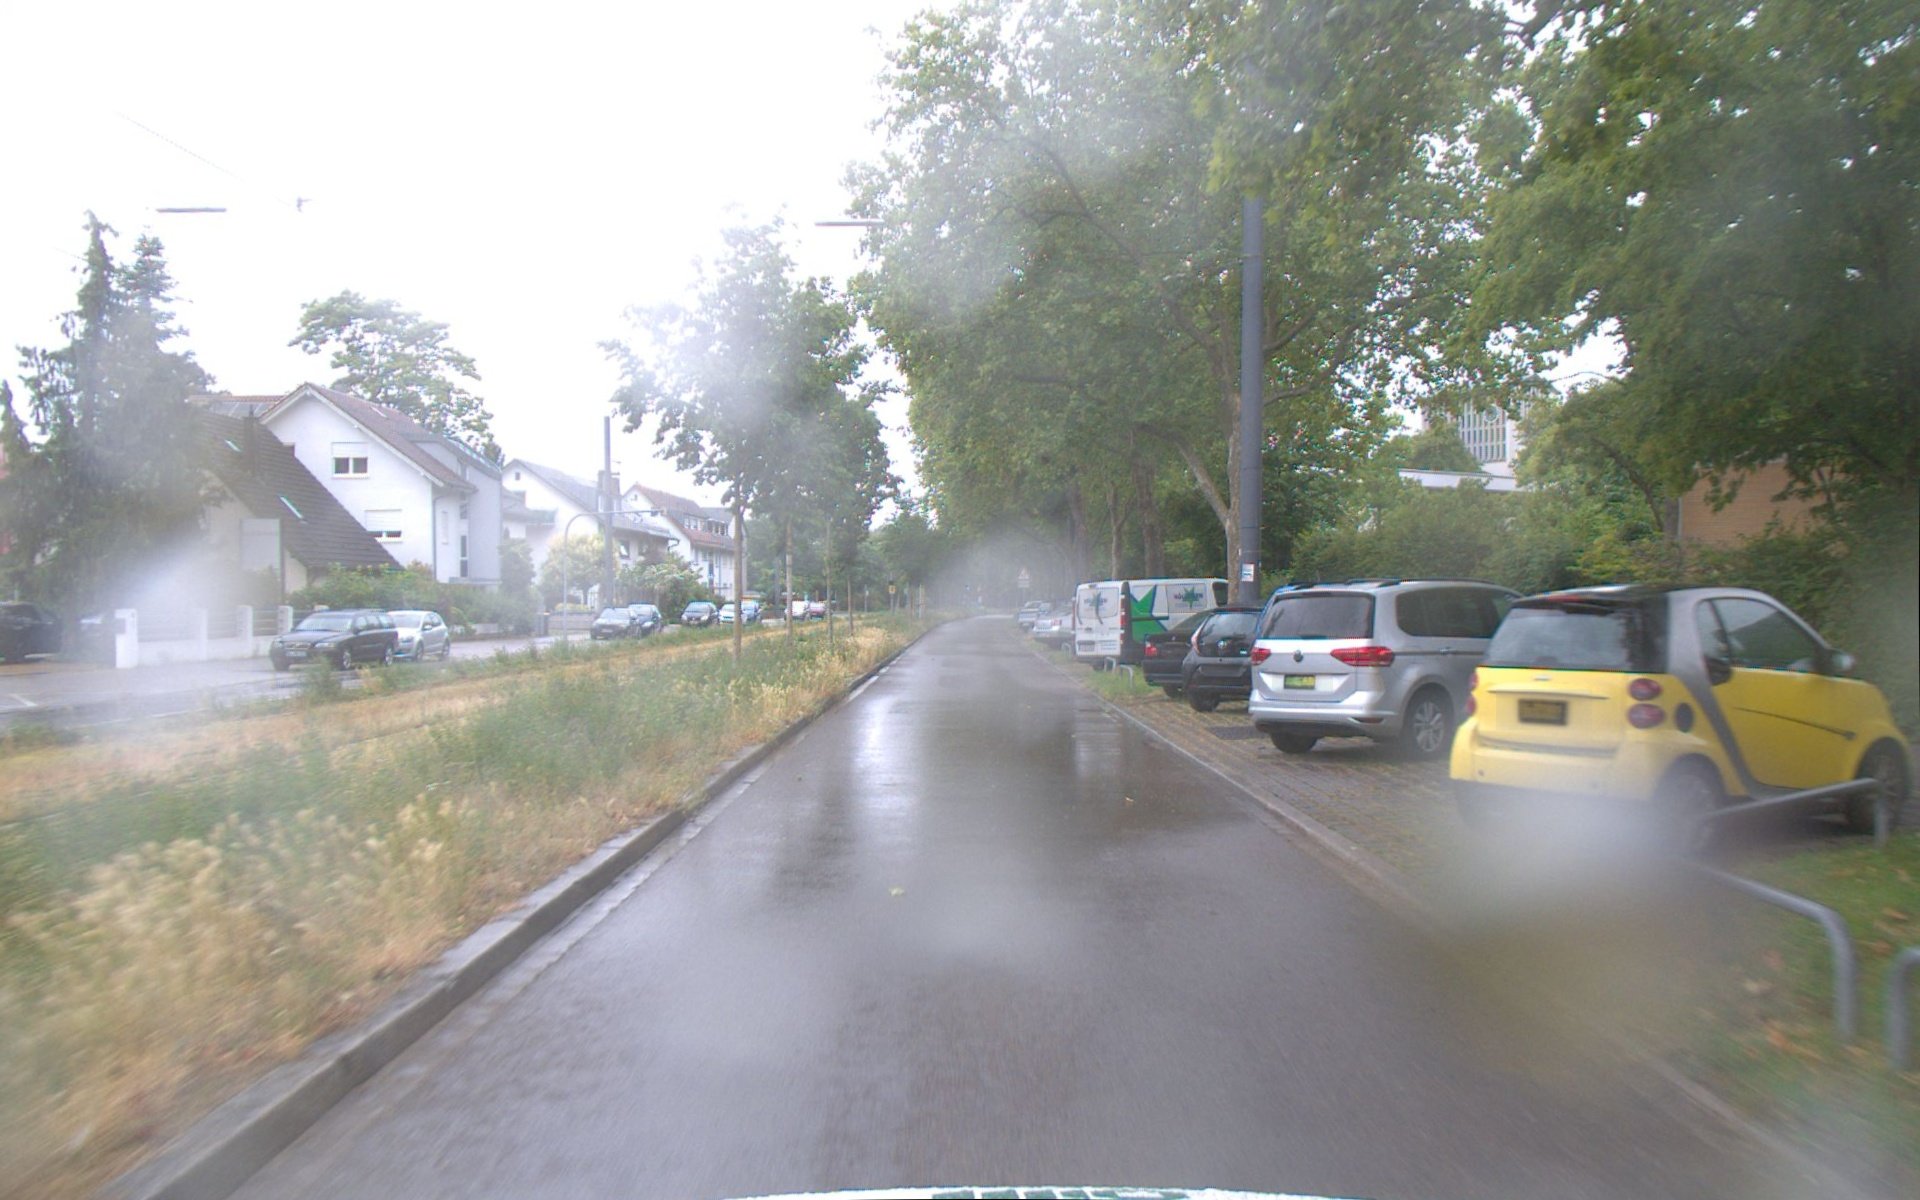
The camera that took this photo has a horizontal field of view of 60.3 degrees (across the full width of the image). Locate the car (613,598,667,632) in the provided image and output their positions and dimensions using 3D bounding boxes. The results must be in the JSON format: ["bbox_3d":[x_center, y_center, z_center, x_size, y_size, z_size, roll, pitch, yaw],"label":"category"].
[{"bbox_3d":[-15.690,0.731,81.227,1.835,1.577,3.870,1,0,0],"label":"car"}]

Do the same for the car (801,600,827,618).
[{"bbox_3d":[-13.628,0.834,154.593,1.952,1.514,4.206,1,0,2],"label":"car"}]

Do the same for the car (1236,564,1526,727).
[{"bbox_3d":[5.039,0.500,19.702,3.237,1.700,1.574,-3,0,-34],"label":"car"}]

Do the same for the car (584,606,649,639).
[{"bbox_3d":[-15.807,1.012,76.258,1.952,1.374,4.241,1,0,2],"label":"car"}]

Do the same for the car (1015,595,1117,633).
[{"bbox_3d":[5.139,0.659,79.912,4.723,1.697,1.969,-2,0,-37],"label":"car"}]

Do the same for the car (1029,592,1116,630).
[{"bbox_3d":[5.070,0.486,74.331,3.667,1.593,1.601,-2,0,-33],"label":"car"}]

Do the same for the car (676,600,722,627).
[{"bbox_3d":[-15.527,0.782,98.551,1.952,1.543,4.206,1,0,2],"label":"car"}]

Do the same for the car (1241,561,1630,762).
[{"bbox_3d":[4.764,0.531,16.324,4.008,1.669,1.631,-2,0,-39],"label":"car"}]

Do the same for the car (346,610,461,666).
[{"bbox_3d":[-15.992,1.061,47.709,1.953,1.435,3.971,1,0,0],"label":"car"}]

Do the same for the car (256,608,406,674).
[{"bbox_3d":[-15.856,0.991,41.970,1.952,1.481,4.532,1,0,2],"label":"car"}]

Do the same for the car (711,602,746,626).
[{"bbox_3d":[-15.405,0.942,110.227,1.759,1.514,3.598,1,0,2],"label":"car"}]

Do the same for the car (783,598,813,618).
[{"bbox_3d":[-13.797,0.669,141.058,1.952,1.608,4.518,1,0,2],"label":"car"}]

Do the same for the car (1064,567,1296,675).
[{"bbox_3d":[4.836,0.400,35.945,4.973,2.048,1.975,-3,1,-35],"label":"car"}]

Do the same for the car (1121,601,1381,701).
[{"bbox_3d":[4.615,0.741,25.912,4.265,1.408,1.716,-1,0,-40],"label":"car"}]

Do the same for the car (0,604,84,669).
[{"bbox_3d":[-24.101,0.880,41.667,1.953,1.481,3.918,1,0,0],"label":"car"}]

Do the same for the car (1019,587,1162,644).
[{"bbox_3d":[4.367,0.501,55.002,4.503,1.571,1.867,-4,2,-32],"label":"car"}]

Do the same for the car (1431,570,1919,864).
[{"bbox_3d":[4.569,0.628,10.244,2.864,1.492,1.588,-3,0,-29],"label":"car"}]

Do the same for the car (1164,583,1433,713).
[{"bbox_3d":[4.659,0.626,22.617,3.370,1.544,1.825,-3,0,-38],"label":"car"}]
